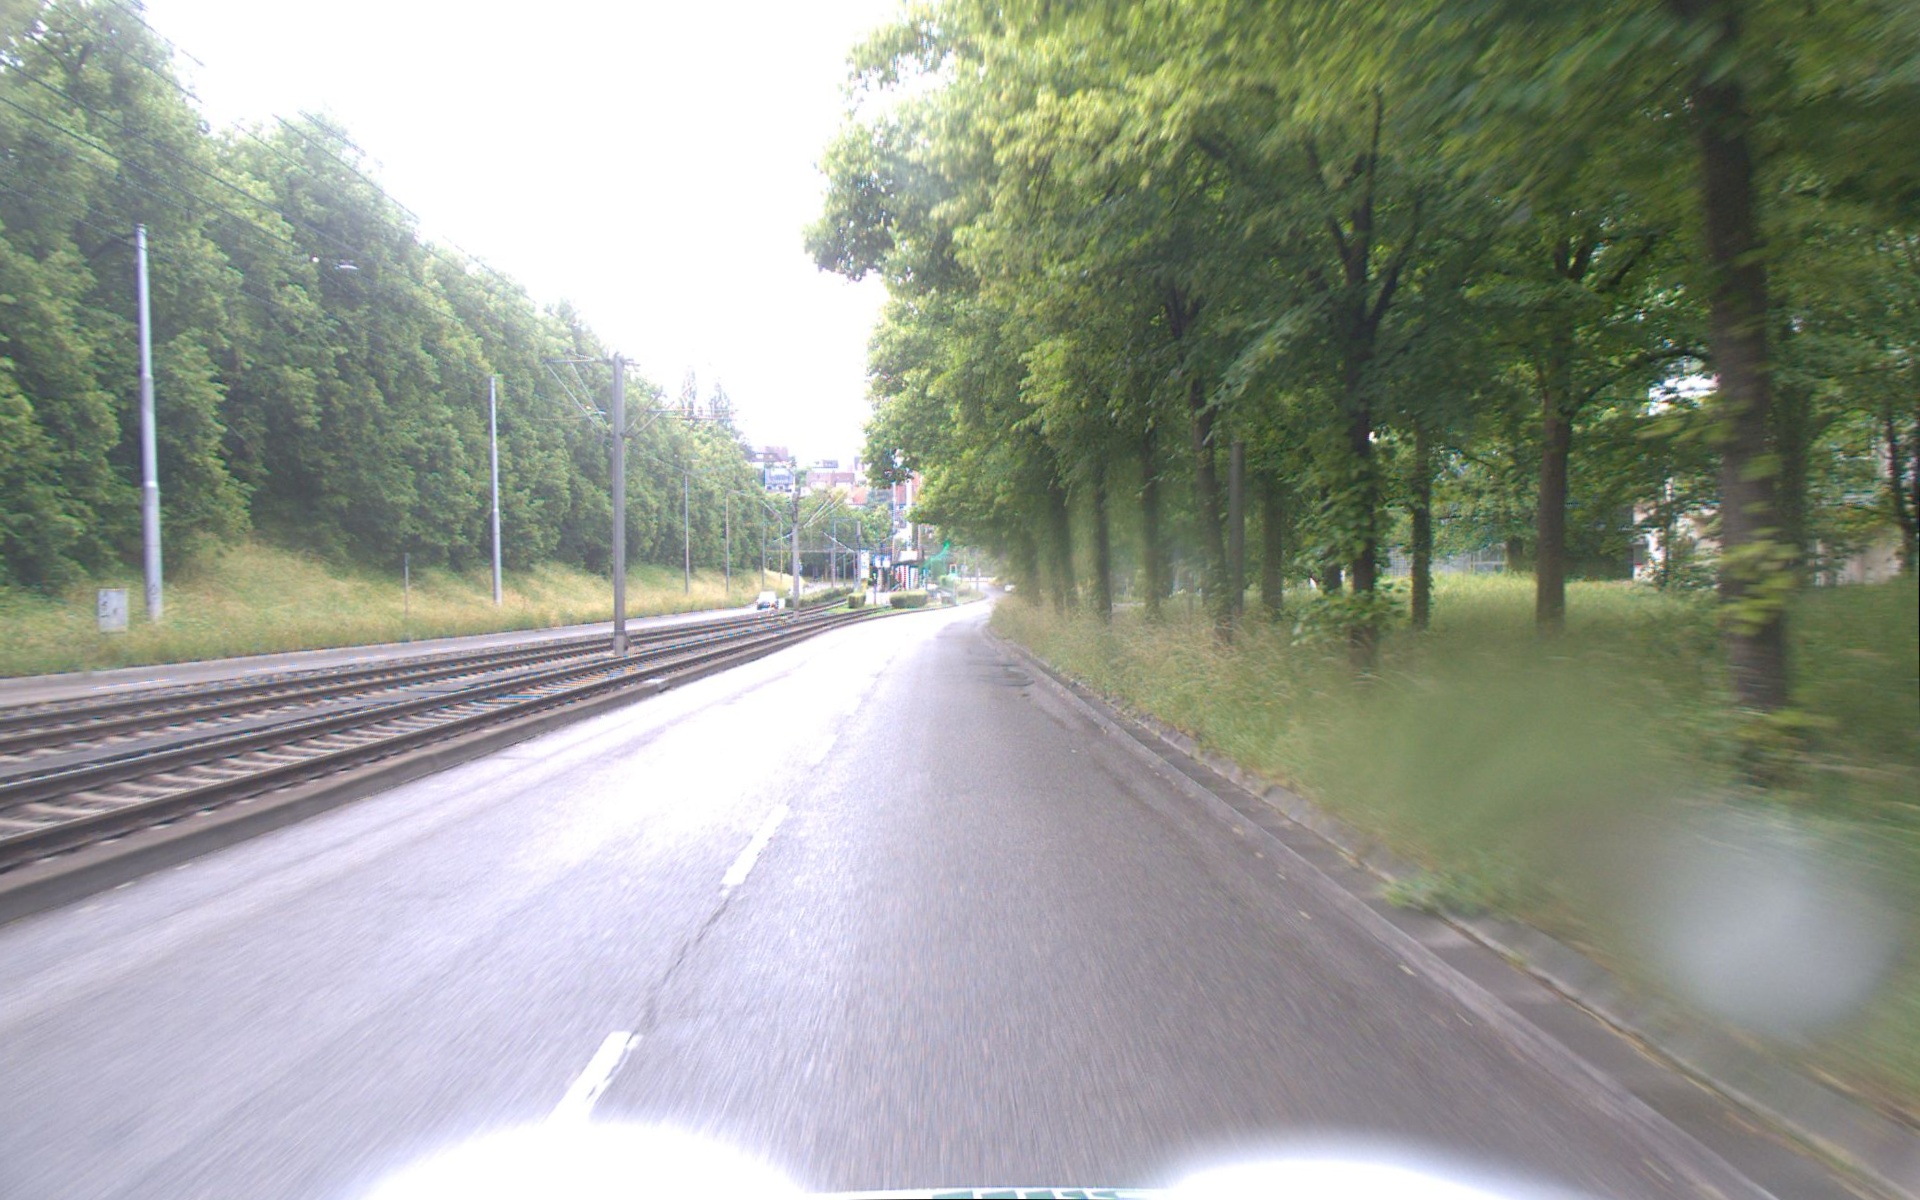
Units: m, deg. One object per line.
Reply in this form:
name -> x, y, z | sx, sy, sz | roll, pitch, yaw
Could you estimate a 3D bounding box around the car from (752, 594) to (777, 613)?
car -> -16.632, 0.299, 140.751 | 1.636, 1.468, 4.025 | -3, 0, -2
